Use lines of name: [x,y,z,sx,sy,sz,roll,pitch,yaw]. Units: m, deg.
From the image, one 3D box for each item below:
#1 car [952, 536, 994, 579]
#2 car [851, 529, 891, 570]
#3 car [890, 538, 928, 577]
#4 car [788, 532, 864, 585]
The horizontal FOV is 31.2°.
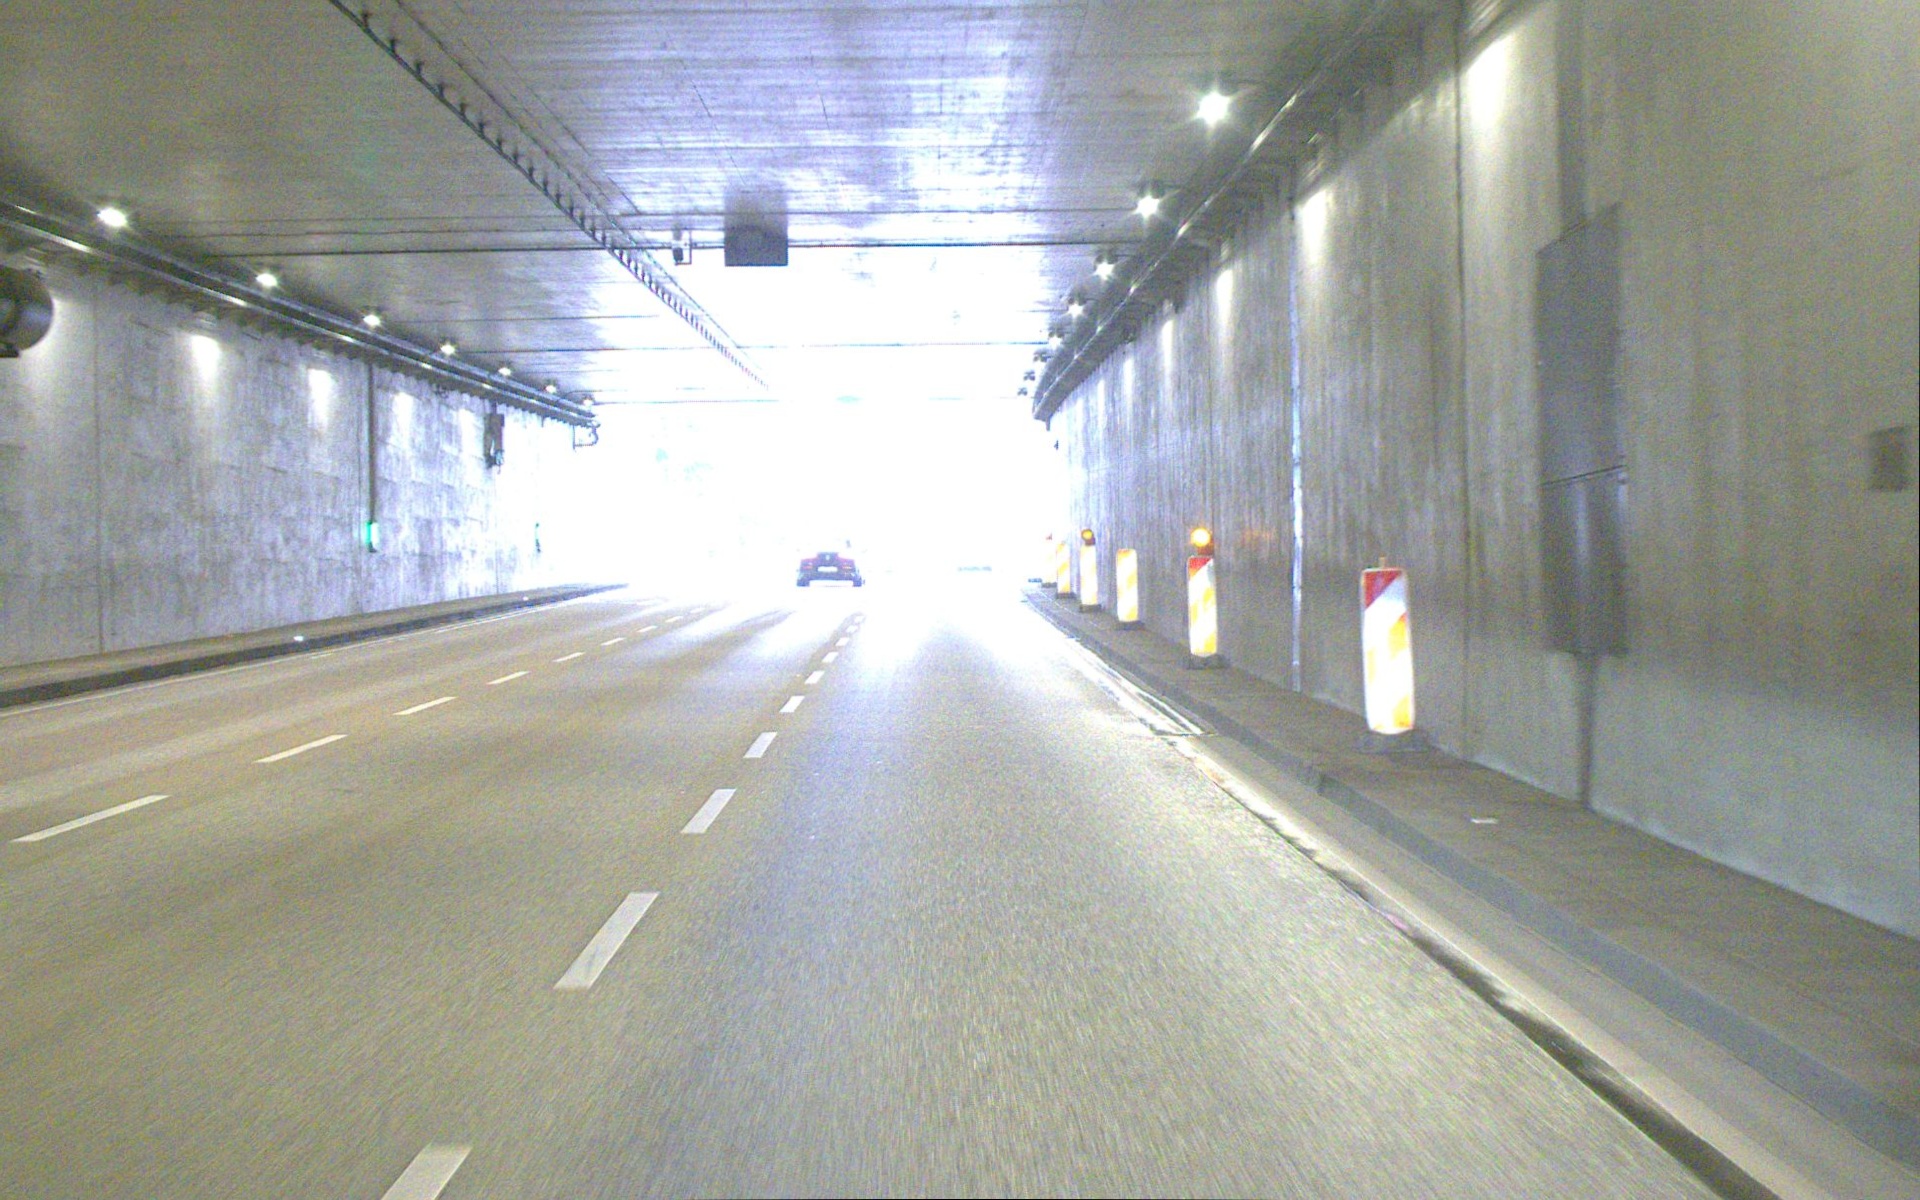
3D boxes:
car: [0.632,-2.055,167.052,1.993,2.007,4.000,0,0,0]
car: [-4.530,-2.576,175.327,1.993,2.007,4.000,0,0,-1]
car: [-2.717,-2.239,182.312,1.993,2.007,4.000,0,0,-1]
car: [-3.782,-1.173,96.464,1.993,1.443,4.315,0,1,-4]
